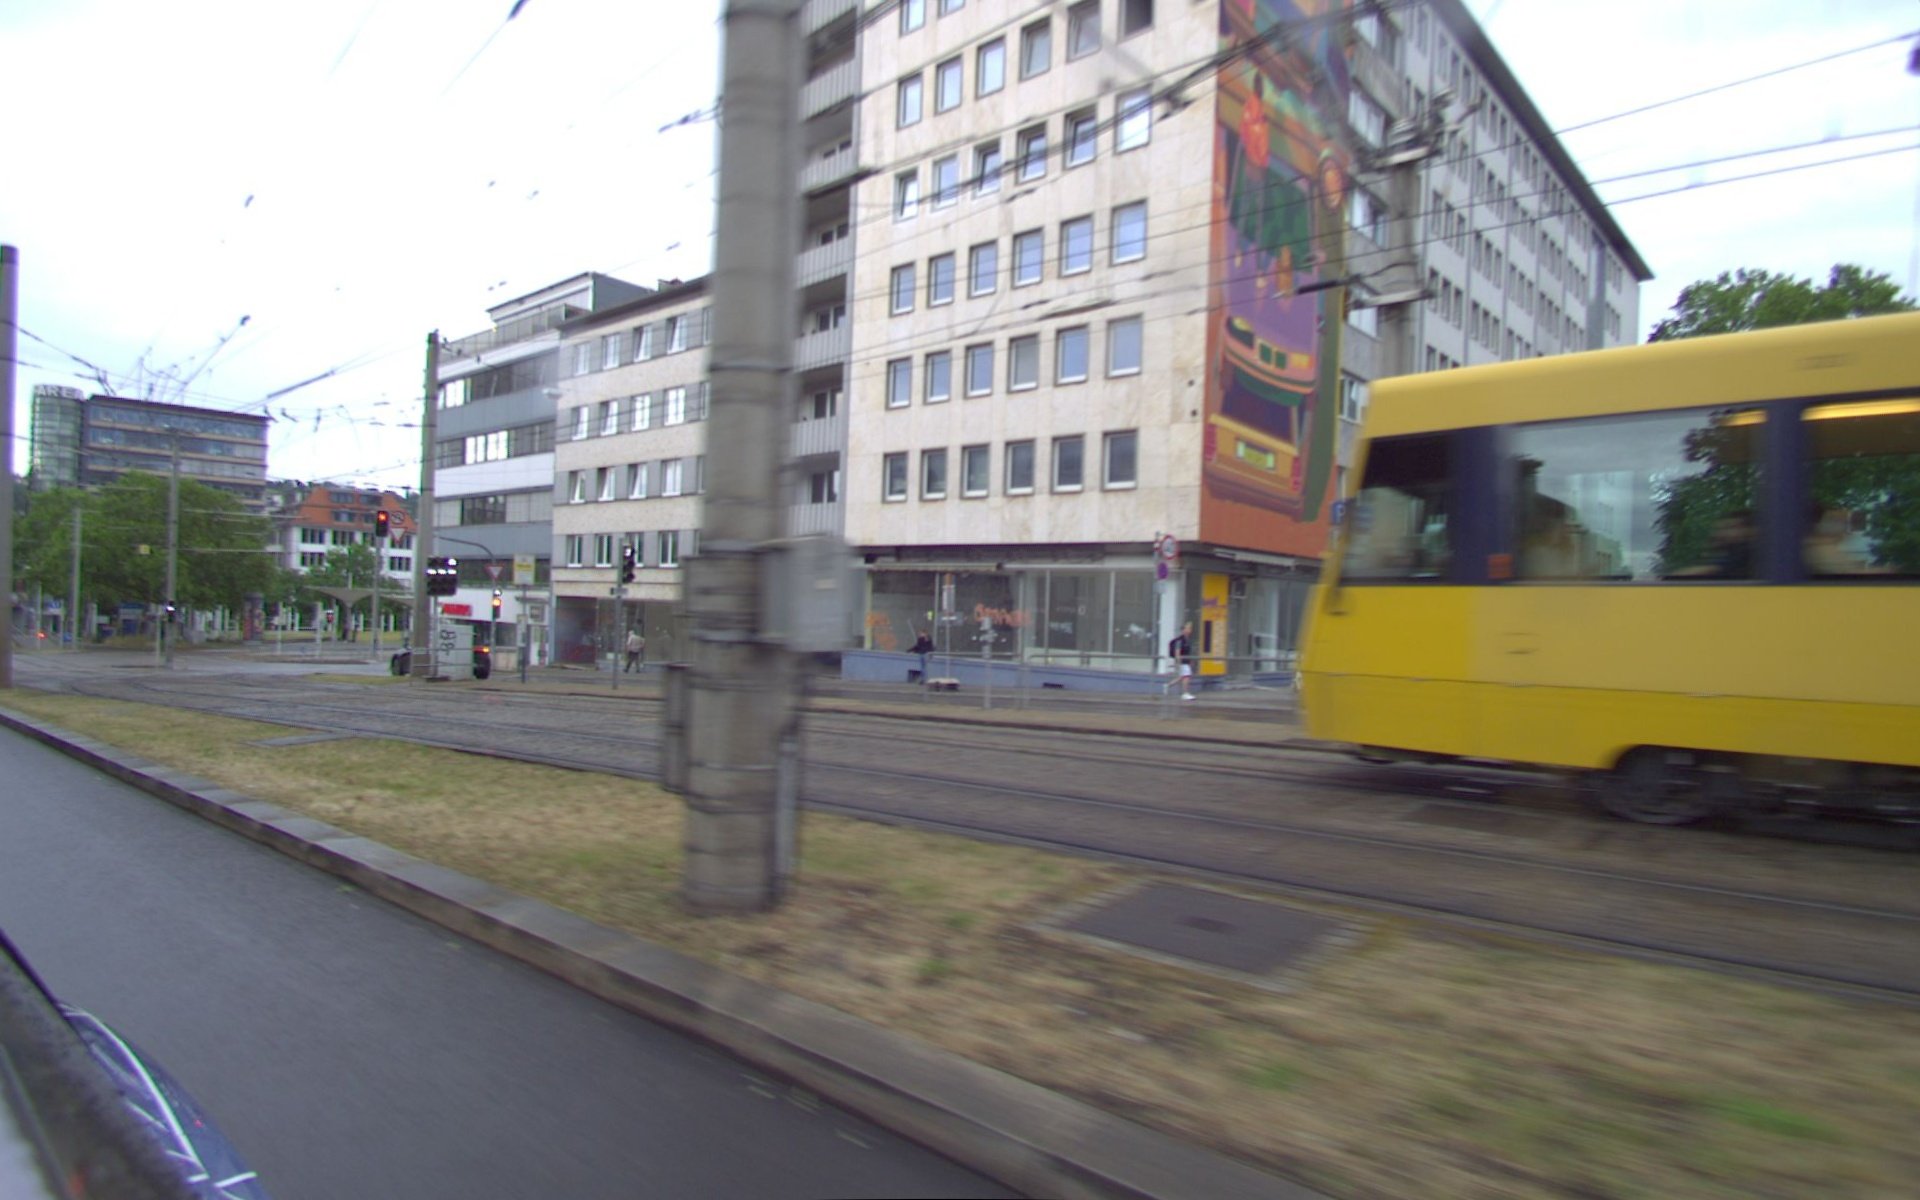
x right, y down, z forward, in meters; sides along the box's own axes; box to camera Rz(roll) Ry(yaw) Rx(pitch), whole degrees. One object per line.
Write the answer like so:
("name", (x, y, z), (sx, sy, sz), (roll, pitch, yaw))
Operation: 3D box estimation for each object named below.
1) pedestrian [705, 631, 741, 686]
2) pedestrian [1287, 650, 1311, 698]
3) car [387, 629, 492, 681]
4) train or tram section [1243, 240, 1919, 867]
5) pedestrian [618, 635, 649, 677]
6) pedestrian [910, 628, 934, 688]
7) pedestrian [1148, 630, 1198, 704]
("pedestrian", (-7.575, 1.862, 32.371), (0.776, 1.721, 0.893), (1, -3, -45))
("pedestrian", (8.420, 1.838, 25.146), (0.441, 1.158, 0.343), (-3, -3, 43))
("car", (-17.564, 1.850, 34.121), (3.864, 1.646, 1.801), (-3, -3, 40))
("train or tram section", (6.751, -0.267, 6.902), (8.967, 3.720, 2.751), (-1, -1, 40))
("pedestrian", (-12.613, 2.156, 39.087), (0.892, 1.605, 0.781), (-3, -2, 40))
("pedestrian", (-1.080, 1.650, 28.797), (0.436, 1.683, 0.519), (-2, -2, 40))
("pedestrian", (4.796, 1.492, 22.800), (0.892, 1.628, 0.629), (-3, -3, 41))
